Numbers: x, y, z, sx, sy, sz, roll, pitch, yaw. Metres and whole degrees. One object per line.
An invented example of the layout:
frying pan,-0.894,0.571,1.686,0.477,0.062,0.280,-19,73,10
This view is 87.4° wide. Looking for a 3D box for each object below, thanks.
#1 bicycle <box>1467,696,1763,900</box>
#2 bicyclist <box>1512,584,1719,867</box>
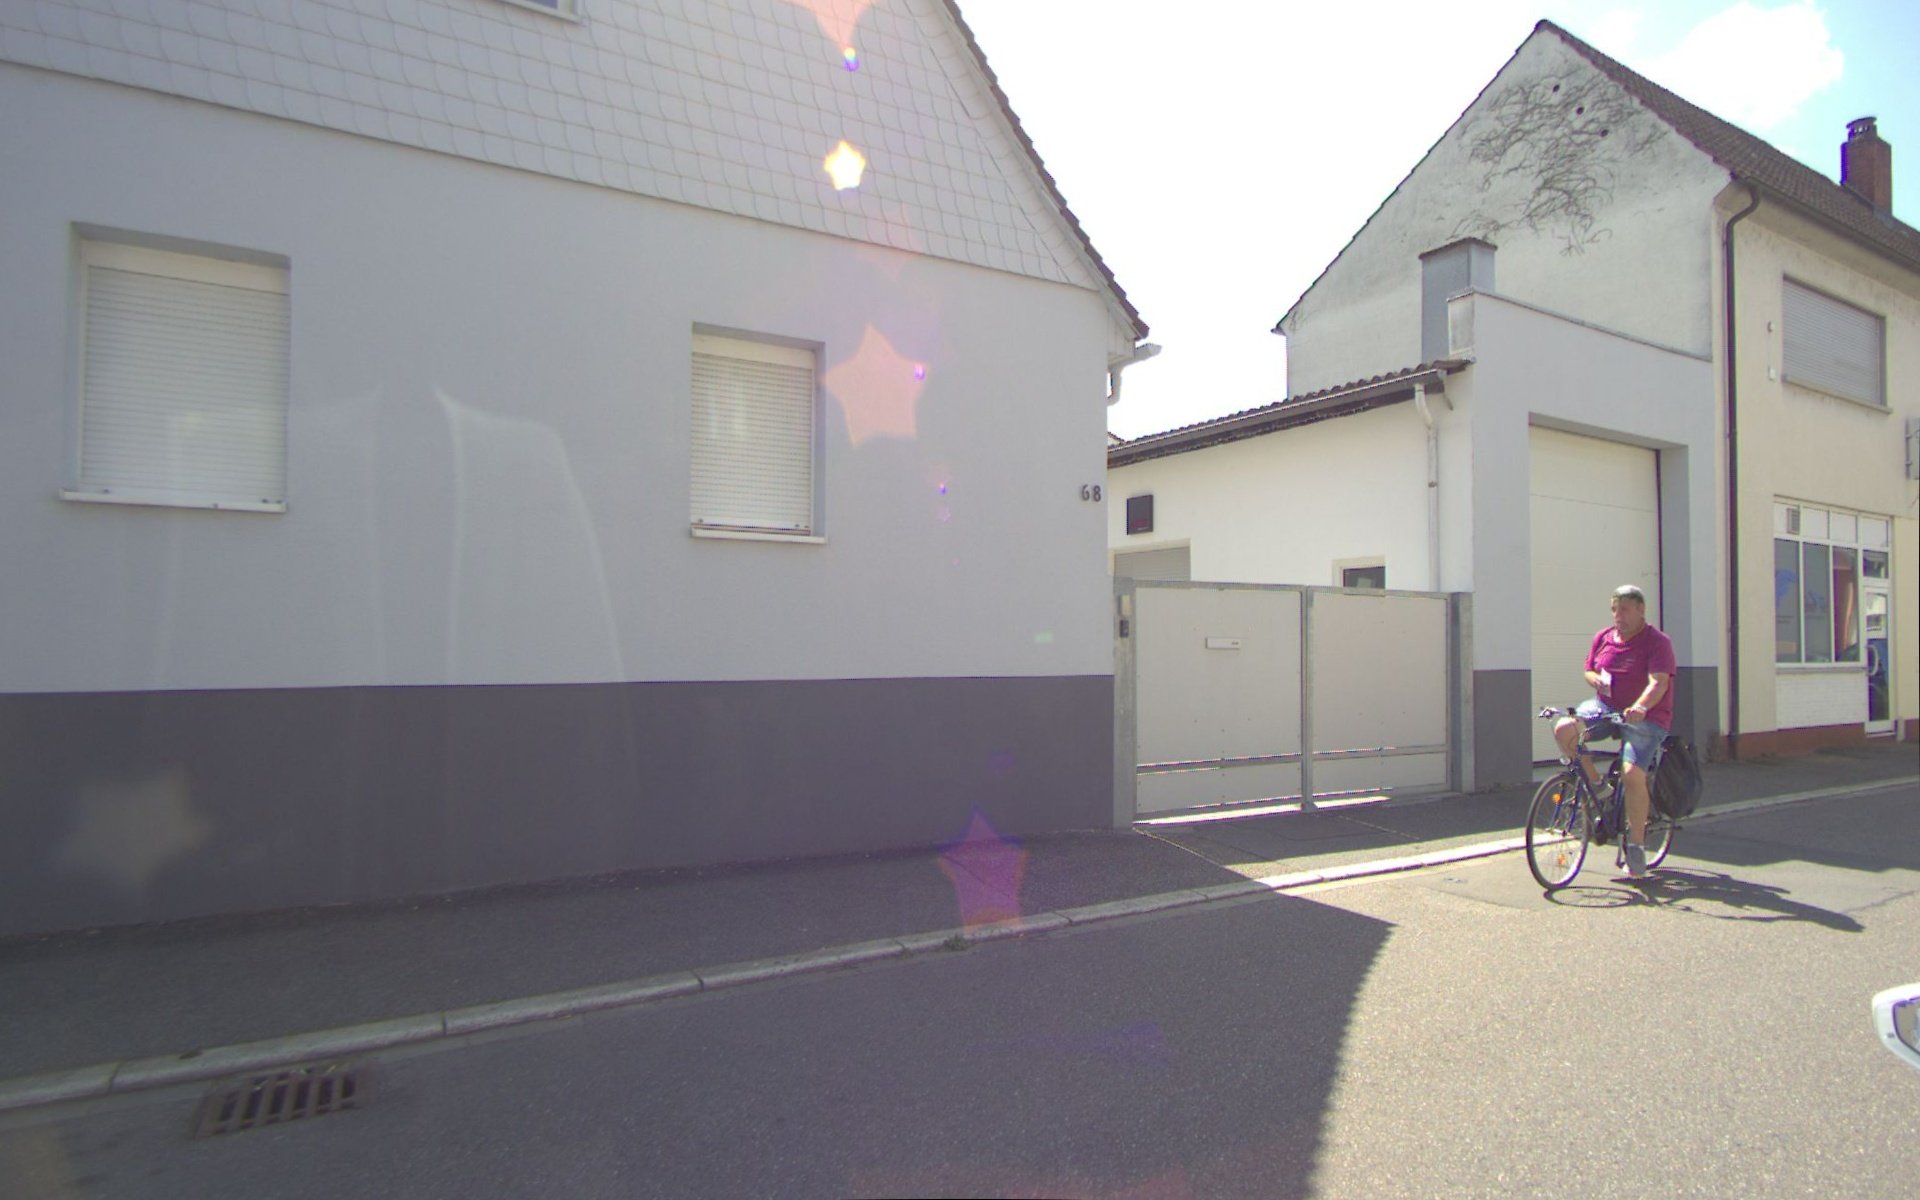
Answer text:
bicycle,4.214,1.193,6.444,1.915,1.061,0.740,1,-2,-27
bicyclist,4.186,0.752,6.436,0.944,1.658,0.744,1,-1,-27
